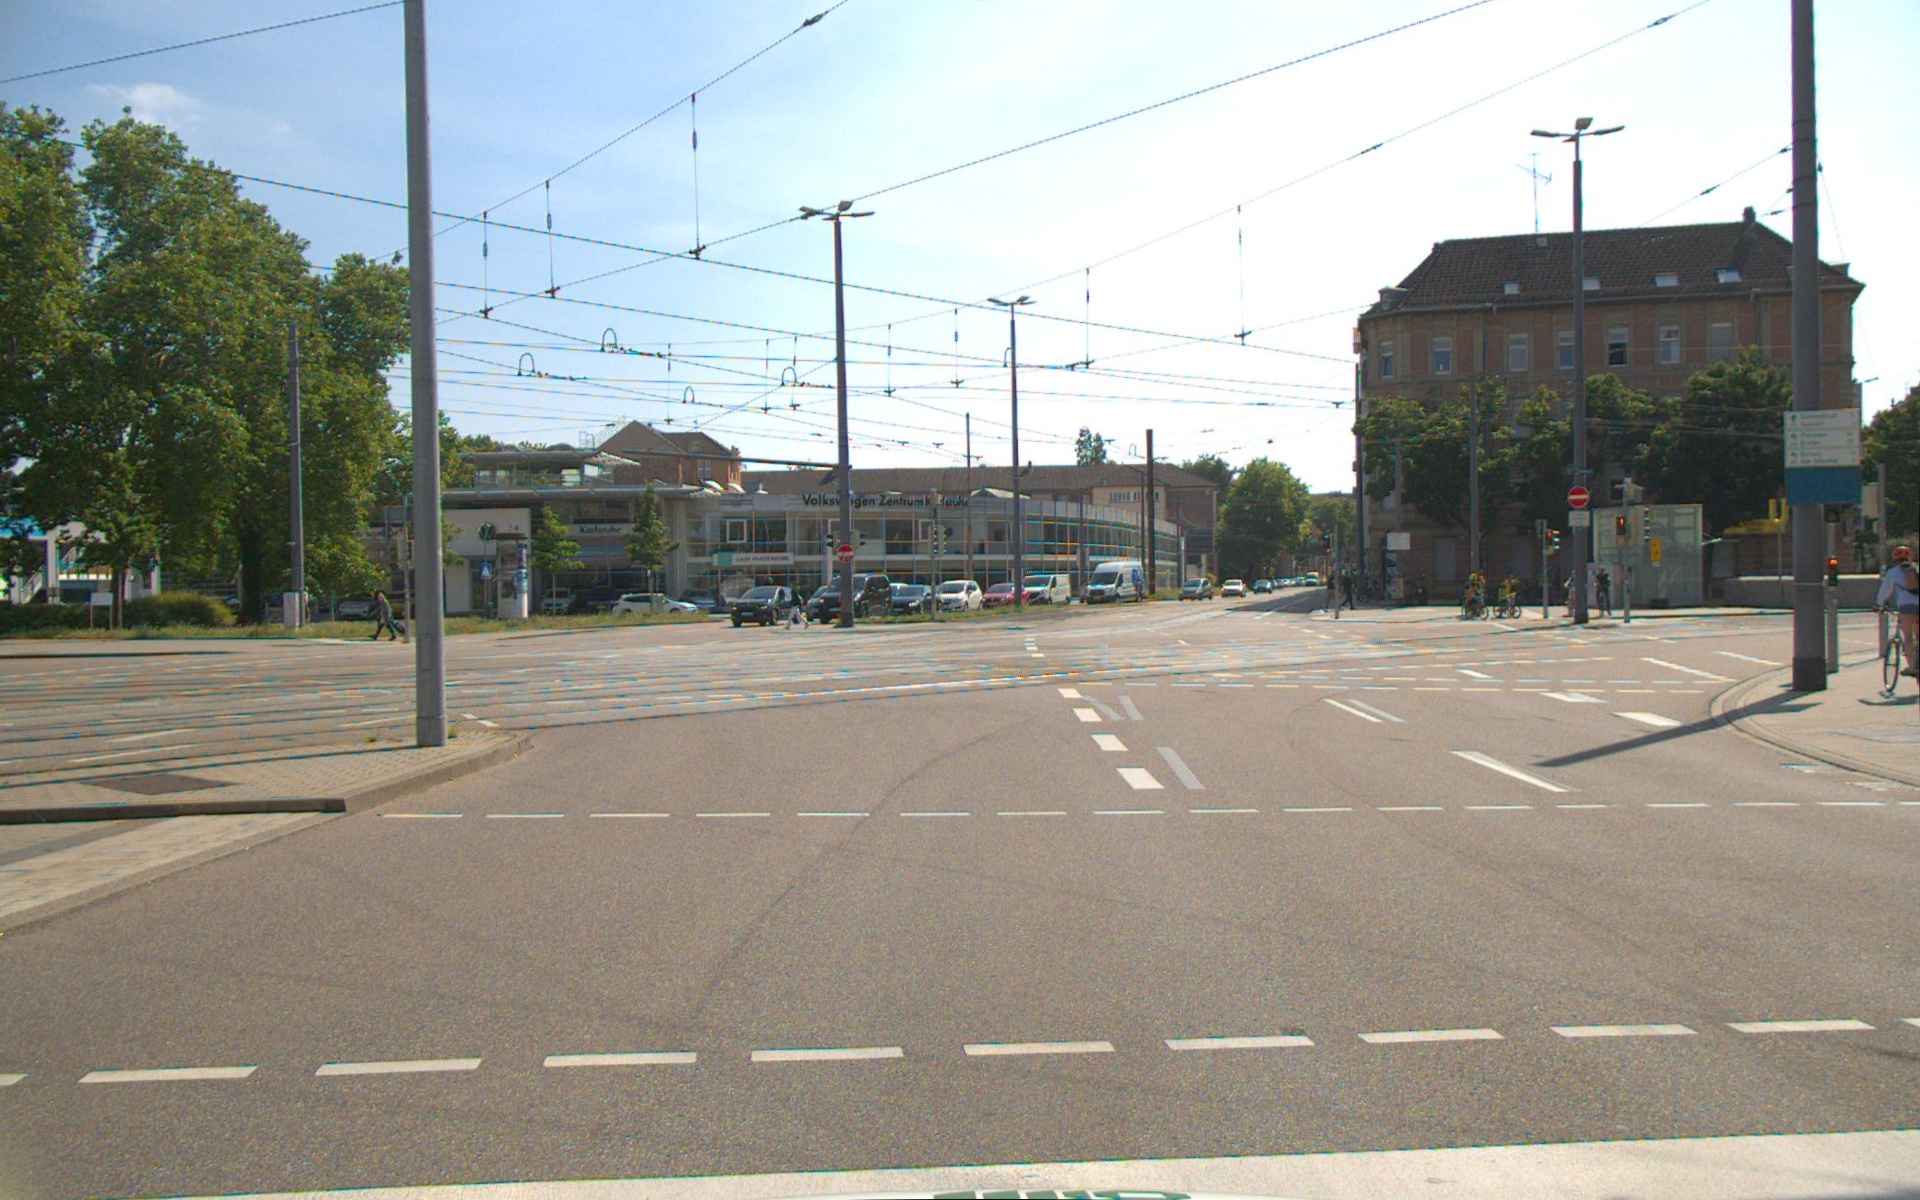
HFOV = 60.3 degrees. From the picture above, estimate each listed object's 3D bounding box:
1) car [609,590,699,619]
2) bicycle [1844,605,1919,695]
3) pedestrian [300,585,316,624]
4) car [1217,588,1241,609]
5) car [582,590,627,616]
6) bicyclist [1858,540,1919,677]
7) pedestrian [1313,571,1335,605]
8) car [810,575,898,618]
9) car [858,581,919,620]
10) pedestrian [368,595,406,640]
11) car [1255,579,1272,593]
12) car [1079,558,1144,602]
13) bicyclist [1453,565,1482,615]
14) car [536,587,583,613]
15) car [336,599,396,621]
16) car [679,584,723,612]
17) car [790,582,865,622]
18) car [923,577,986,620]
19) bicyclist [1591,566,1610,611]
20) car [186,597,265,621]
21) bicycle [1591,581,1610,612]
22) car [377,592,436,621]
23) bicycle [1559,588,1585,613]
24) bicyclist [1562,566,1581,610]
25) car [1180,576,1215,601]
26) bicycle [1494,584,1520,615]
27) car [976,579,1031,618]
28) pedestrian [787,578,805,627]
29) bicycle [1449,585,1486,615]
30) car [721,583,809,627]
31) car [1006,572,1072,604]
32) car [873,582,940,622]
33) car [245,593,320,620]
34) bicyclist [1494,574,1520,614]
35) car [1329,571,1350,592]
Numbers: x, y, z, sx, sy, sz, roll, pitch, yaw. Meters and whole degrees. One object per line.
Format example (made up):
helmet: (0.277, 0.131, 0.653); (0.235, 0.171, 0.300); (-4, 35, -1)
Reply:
car: (-16.329, 0.223, 88.253); (4.486, 1.461, 1.445); (1, 0, 10)
bicycle: (12.133, 0.614, 21.202); (0.699, 1.033, 2.022); (-3, 0, 7)
pedestrian: (-27.971, 0.196, 70.924); (0.384, 1.624, 0.464); (1, -1, 23)
car: (22.402, -0.117, 137.703); (1.355, 1.653, 3.341); (-1, 1, 20)
car: (-21.458, 0.182, 100.043); (1.953, 1.512, 3.998); (1, 0, -2)
bicyclist: (12.097, 0.099, 21.195); (0.699, 1.698, 0.875); (-3, 0, 7)
pedestrian: (15.651, -0.530, 71.177); (0.608, 1.458, 0.703); (1, -1, -38)
car: (-4.080, -0.166, 64.541); (1.919, 1.615, 4.719); (-1, 1, 16)
car: (-3.362, 0.049, 78.072); (1.616, 1.769, 4.203); (-1, -1, 16)
pedestrian: (-18.544, 0.576, 53.511); (1.098, 1.428, 0.652); (1, -1, -23)
car: (31.774, -1.483, 173.101); (1.355, 1.439, 3.013); (1, 0, 18)
car: (9.479, -1.208, 103.015); (2.165, 2.620, 5.870); (1, 0, 25)
bicyclist: (18.982, -0.372, 61.875); (0.907, 1.852, 1.053); (1, -1, 9)
car: (-24.182, -0.020, 100.032); (1.953, 1.512, 3.998); (-1, 1, -2)
car: (-35.981, 0.583, 100.292); (1.951, 1.266, 4.002); (1, 0, 4)
car: (-15.913, -0.103, 101.441); (1.795, 1.646, 3.972); (1, 0, -23)
car: (-5.636, 0.095, 70.715); (1.854, 1.615, 4.002); (-1, -1, 16)
car: (-0.230, -0.044, 78.441); (1.854, 1.950, 4.203); (-1, -1, 16)
bicyclist: (23.855, -0.430, 61.578); (0.653, 1.652, 0.782); (1, 1, 22)
car: (-44.862, 0.529, 101.106); (3.906, 1.395, 1.999); (1, 0, -1)
bicycle: (23.807, -0.139, 61.460); (0.653, 1.088, 2.463); (1, 1, 22)
car: (-33.673, 0.401, 100.723); (1.951, 1.713, 4.002); (1, 0, 4)
bicycle: (23.056, 0.013, 62.345); (0.489, 0.881, 1.588); (1, 1, 4)
bicyclist: (23.055, -0.455, 62.333); (0.489, 1.649, 0.650); (1, 0, 4)
car: (17.450, -0.836, 121.403); (1.357, 1.685, 3.755); (1, 0, 27)
bicycle: (20.387, -0.033, 61.667); (0.907, 1.088, 2.842); (1, 1, 18)
car: (2.266, -0.067, 85.377); (1.854, 1.950, 4.203); (-1, -1, 16)
pedestrian: (-5.533, 0.085, 55.770); (0.449, 1.633, 0.395); (1, -1, -37)
bicycle: (18.967, 0.019, 61.842); (0.907, 1.088, 2.749); (1, 0, 9)
car: (-7.472, 0.208, 63.877); (1.851, 1.615, 4.213); (-1, -1, 16)
car: (4.469, -0.686, 92.793); (2.140, 1.710, 5.029); (-1, 0, 22)
car: (-2.235, 0.112, 70.732); (1.854, 1.615, 4.003); (-1, -1, 13)
car: (-42.644, 0.410, 104.183); (3.907, 1.579, 1.999); (-1, 0, -3)
bicyclist: (20.394, -0.231, 61.687); (0.907, 1.477, 1.252); (1, 1, 18)
car: (38.136, -1.898, 166.224); (2.063, 2.049, 4.004); (-1, 0, 13)
